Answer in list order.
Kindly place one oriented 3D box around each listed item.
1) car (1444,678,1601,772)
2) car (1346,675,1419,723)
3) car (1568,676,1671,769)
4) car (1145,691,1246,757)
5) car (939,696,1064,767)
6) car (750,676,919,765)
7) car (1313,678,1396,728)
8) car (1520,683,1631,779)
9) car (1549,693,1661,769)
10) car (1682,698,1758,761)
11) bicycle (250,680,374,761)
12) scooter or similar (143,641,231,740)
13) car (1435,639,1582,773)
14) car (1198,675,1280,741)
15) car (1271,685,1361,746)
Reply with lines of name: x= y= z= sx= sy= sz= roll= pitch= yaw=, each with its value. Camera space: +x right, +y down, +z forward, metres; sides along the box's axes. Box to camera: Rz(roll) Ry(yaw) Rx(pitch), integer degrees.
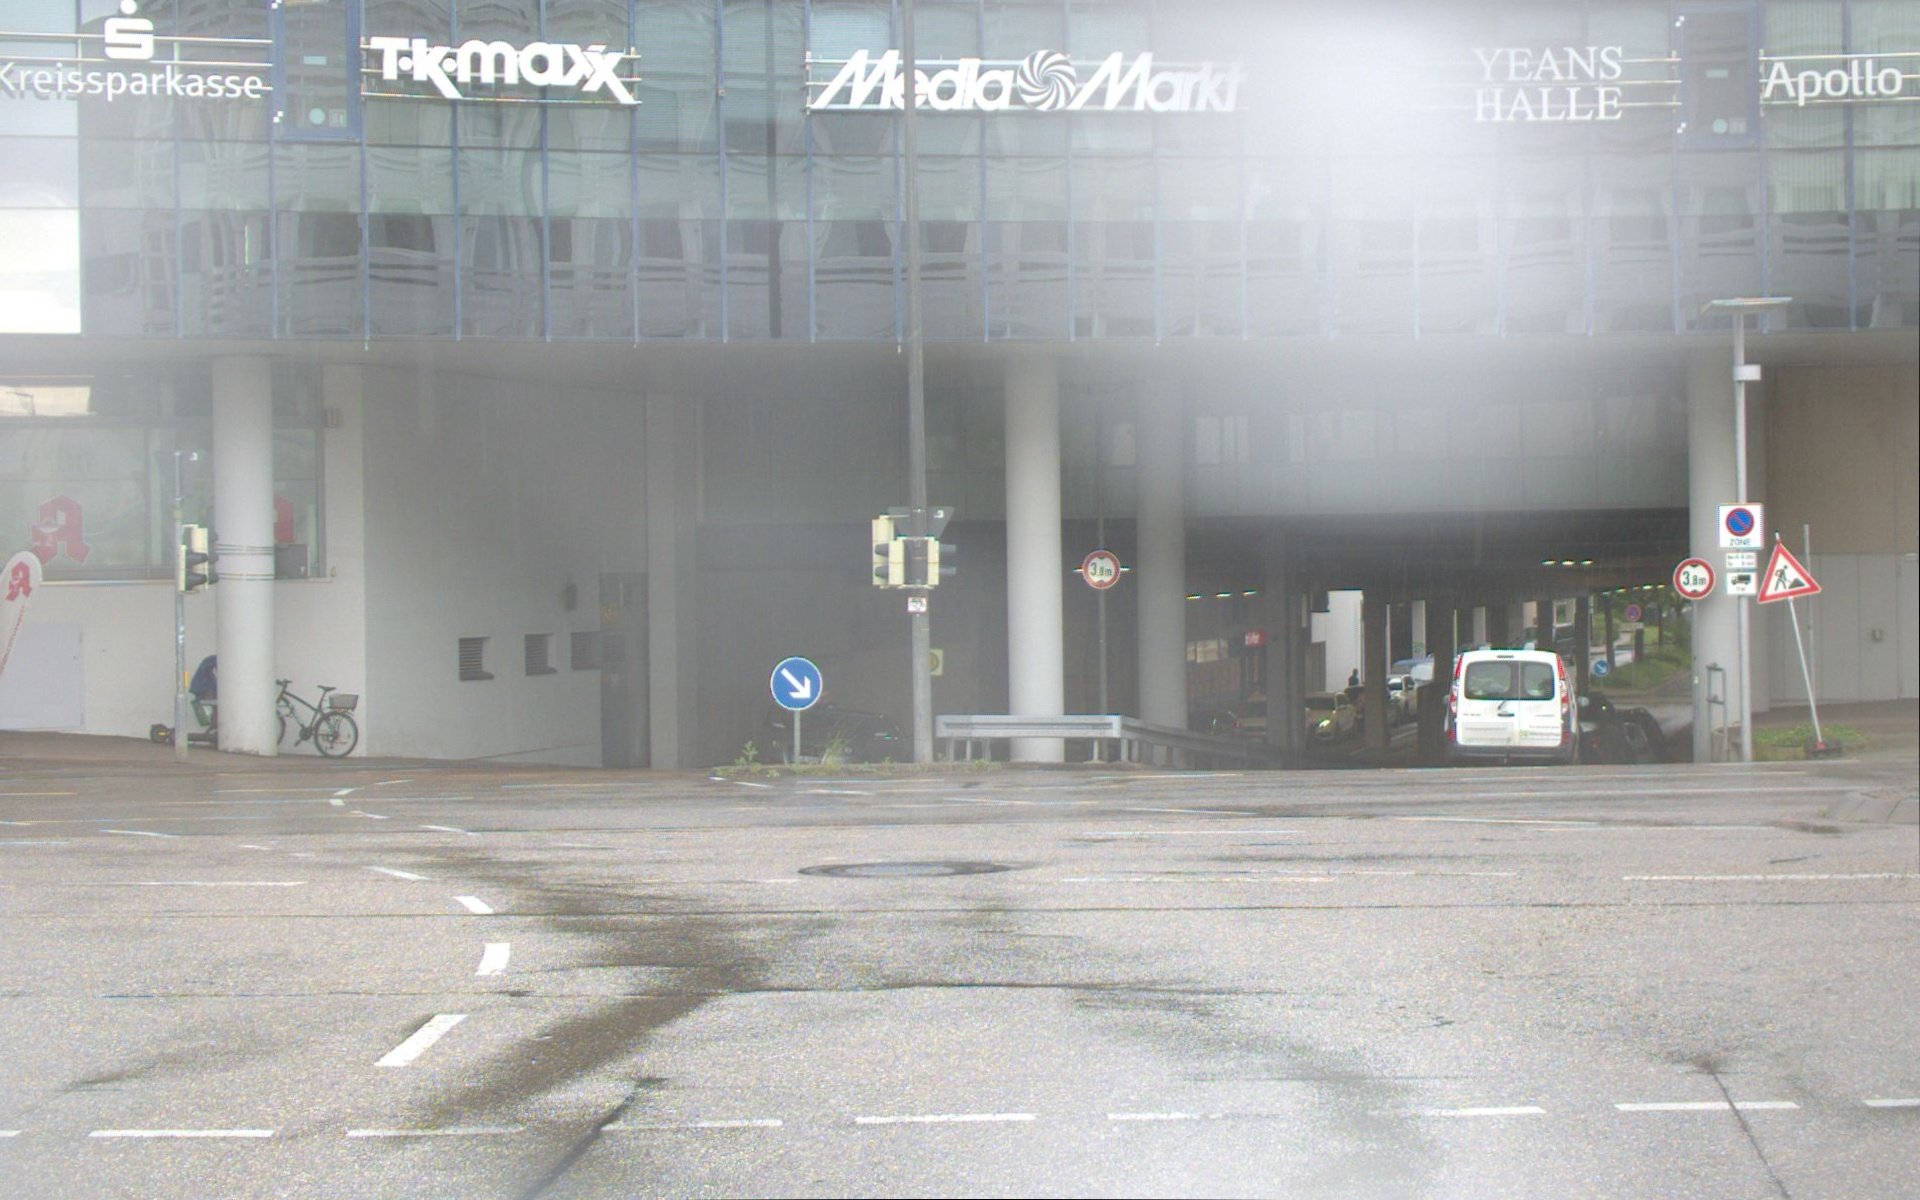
car: x=9.253 y=2.077 z=56.315 sx=1.759 sy=1.459 sz=3.938 roll=-2 pitch=-3 yaw=21
car: x=14.087 y=3.284 z=114.594 sx=1.994 sy=1.459 sz=3.998 roll=-1 pitch=-1 yaw=13
car: x=13.604 y=2.493 z=70.785 sx=1.792 sy=1.764 sz=3.997 roll=-1 pitch=-1 yaw=14
car: x=6.280 y=3.277 z=91.287 sx=1.916 sy=1.582 sz=3.936 roll=-1 pitch=-1 yaw=15
car: x=0.922 y=2.845 z=74.426 sx=1.772 sy=1.459 sz=3.872 roll=-1 pitch=-2 yaw=15
car: x=-2.243 y=2.211 z=62.475 sx=1.894 sy=1.465 sz=4.023 roll=-1 pitch=-4 yaw=16
car: x=12.590 y=3.269 z=109.511 sx=1.995 sy=1.459 sz=3.997 roll=-1 pitch=-1 yaw=15
car: x=10.935 y=2.320 z=60.939 sx=1.634 sy=1.606 sz=4.259 roll=-2 pitch=-2 yaw=14
car: x=12.424 y=2.540 z=66.040 sx=1.781 sy=1.396 sz=3.996 roll=-1 pitch=-3 yaw=15
car: x=20.115 y=3.400 z=90.899 sx=1.889 sy=1.486 sz=3.838 roll=1 pitch=0 yaw=13
bicycle: x=-9.167 y=1.709 z=48.646 sx=1.581 sy=1.014 sz=0.452 roll=6 pitch=-2 yaw=-31
scooter or similar: x=-10.838 y=1.268 z=48.205 sx=1.166 sy=1.368 sz=0.489 roll=1 pitch=0 yaw=-15
car: x=7.799 y=1.484 z=48.629 sx=1.926 sy=1.791 sz=4.294 roll=-1 pitch=-1 yaw=10
car: x=7.823 y=3.002 z=96.087 sx=1.837 sy=1.722 sz=3.998 roll=-1 pitch=0 yaw=11
car: x=10.566 y=3.407 z=101.875 sx=1.995 sy=1.658 sz=3.997 roll=1 pitch=0 yaw=15
